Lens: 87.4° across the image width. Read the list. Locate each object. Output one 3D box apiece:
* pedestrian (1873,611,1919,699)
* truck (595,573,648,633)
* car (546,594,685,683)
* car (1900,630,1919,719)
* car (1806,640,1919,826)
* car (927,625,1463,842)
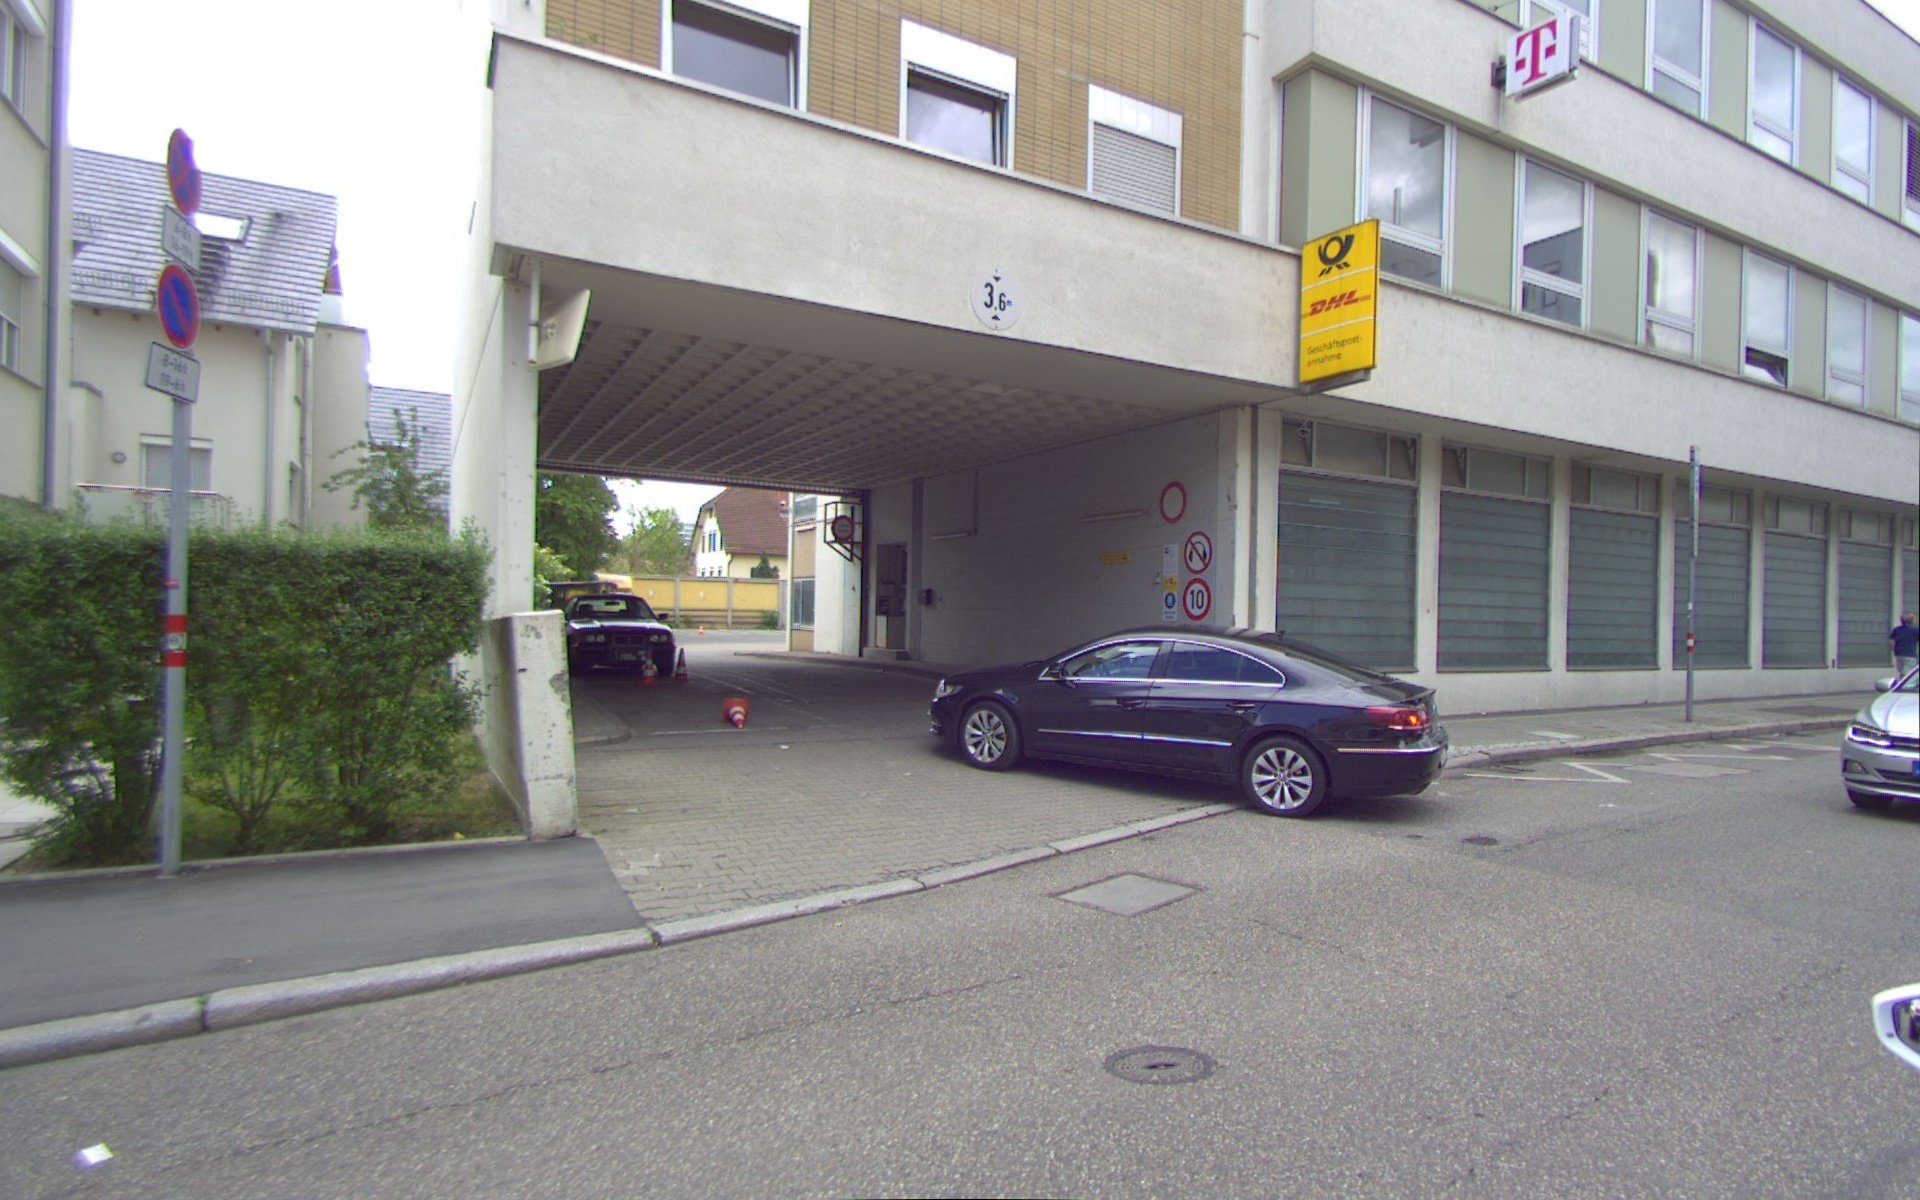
[{"bbox_3d":[19.161,1.094,20.430,1.043,1.741,0.586,1,0,-31],"label":"pedestrian"},{"bbox_3d":[-17.359,0.085,51.257,1.972,2.789,7.254,1,1,-23],"label":"truck"},{"bbox_3d":[-6.134,0.590,17.564,1.604,1.341,4.421,1,0,-28],"label":"car"},{"bbox_3d":[17.564,1.231,16.803,3.826,1.444,1.708,1,-2,-31],"label":"car"},{"bbox_3d":[9.219,1.060,8.632,3.954,1.436,1.790,1,-2,-31],"label":"car"},{"bbox_3d":[2.000,0.998,8.991,4.374,1.417,1.654,1,0,30],"label":"car"}]
